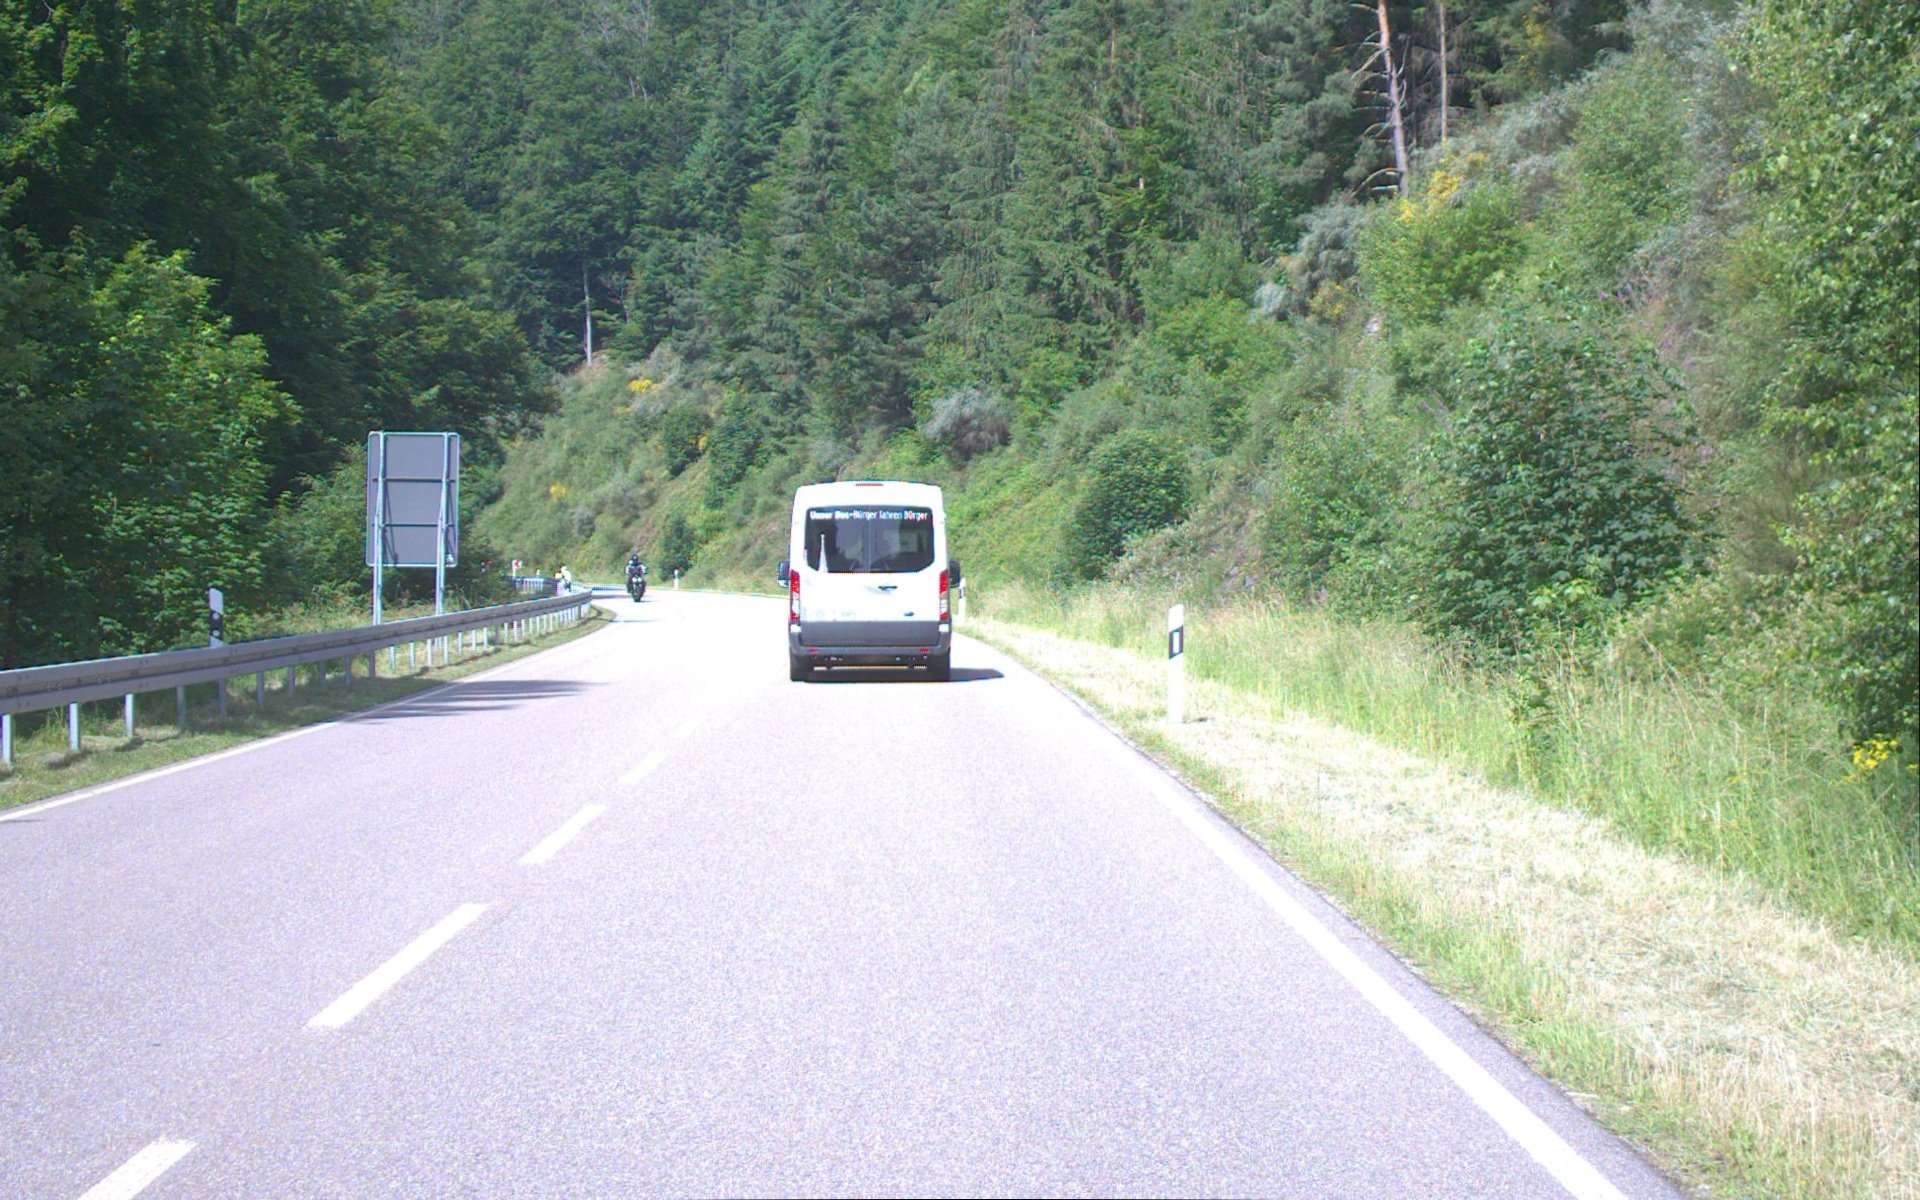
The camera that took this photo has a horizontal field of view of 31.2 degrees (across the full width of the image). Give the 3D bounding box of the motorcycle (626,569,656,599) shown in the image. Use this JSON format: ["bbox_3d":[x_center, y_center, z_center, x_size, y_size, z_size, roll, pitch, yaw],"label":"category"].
[{"bbox_3d":[-11.712,-0.590,126.361,0.984,1.068,1.963,0,1,-2],"label":"motorcycle"}]

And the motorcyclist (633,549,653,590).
[{"bbox_3d":[-11.637,-1.118,126.317,0.658,1.508,0.934,-1,1,-2],"label":"motorcyclist"}]

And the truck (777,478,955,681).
[{"bbox_3d":[-1.264,-0.276,43.994,2.083,2.451,4.876,0,1,-4],"label":"truck"}]
